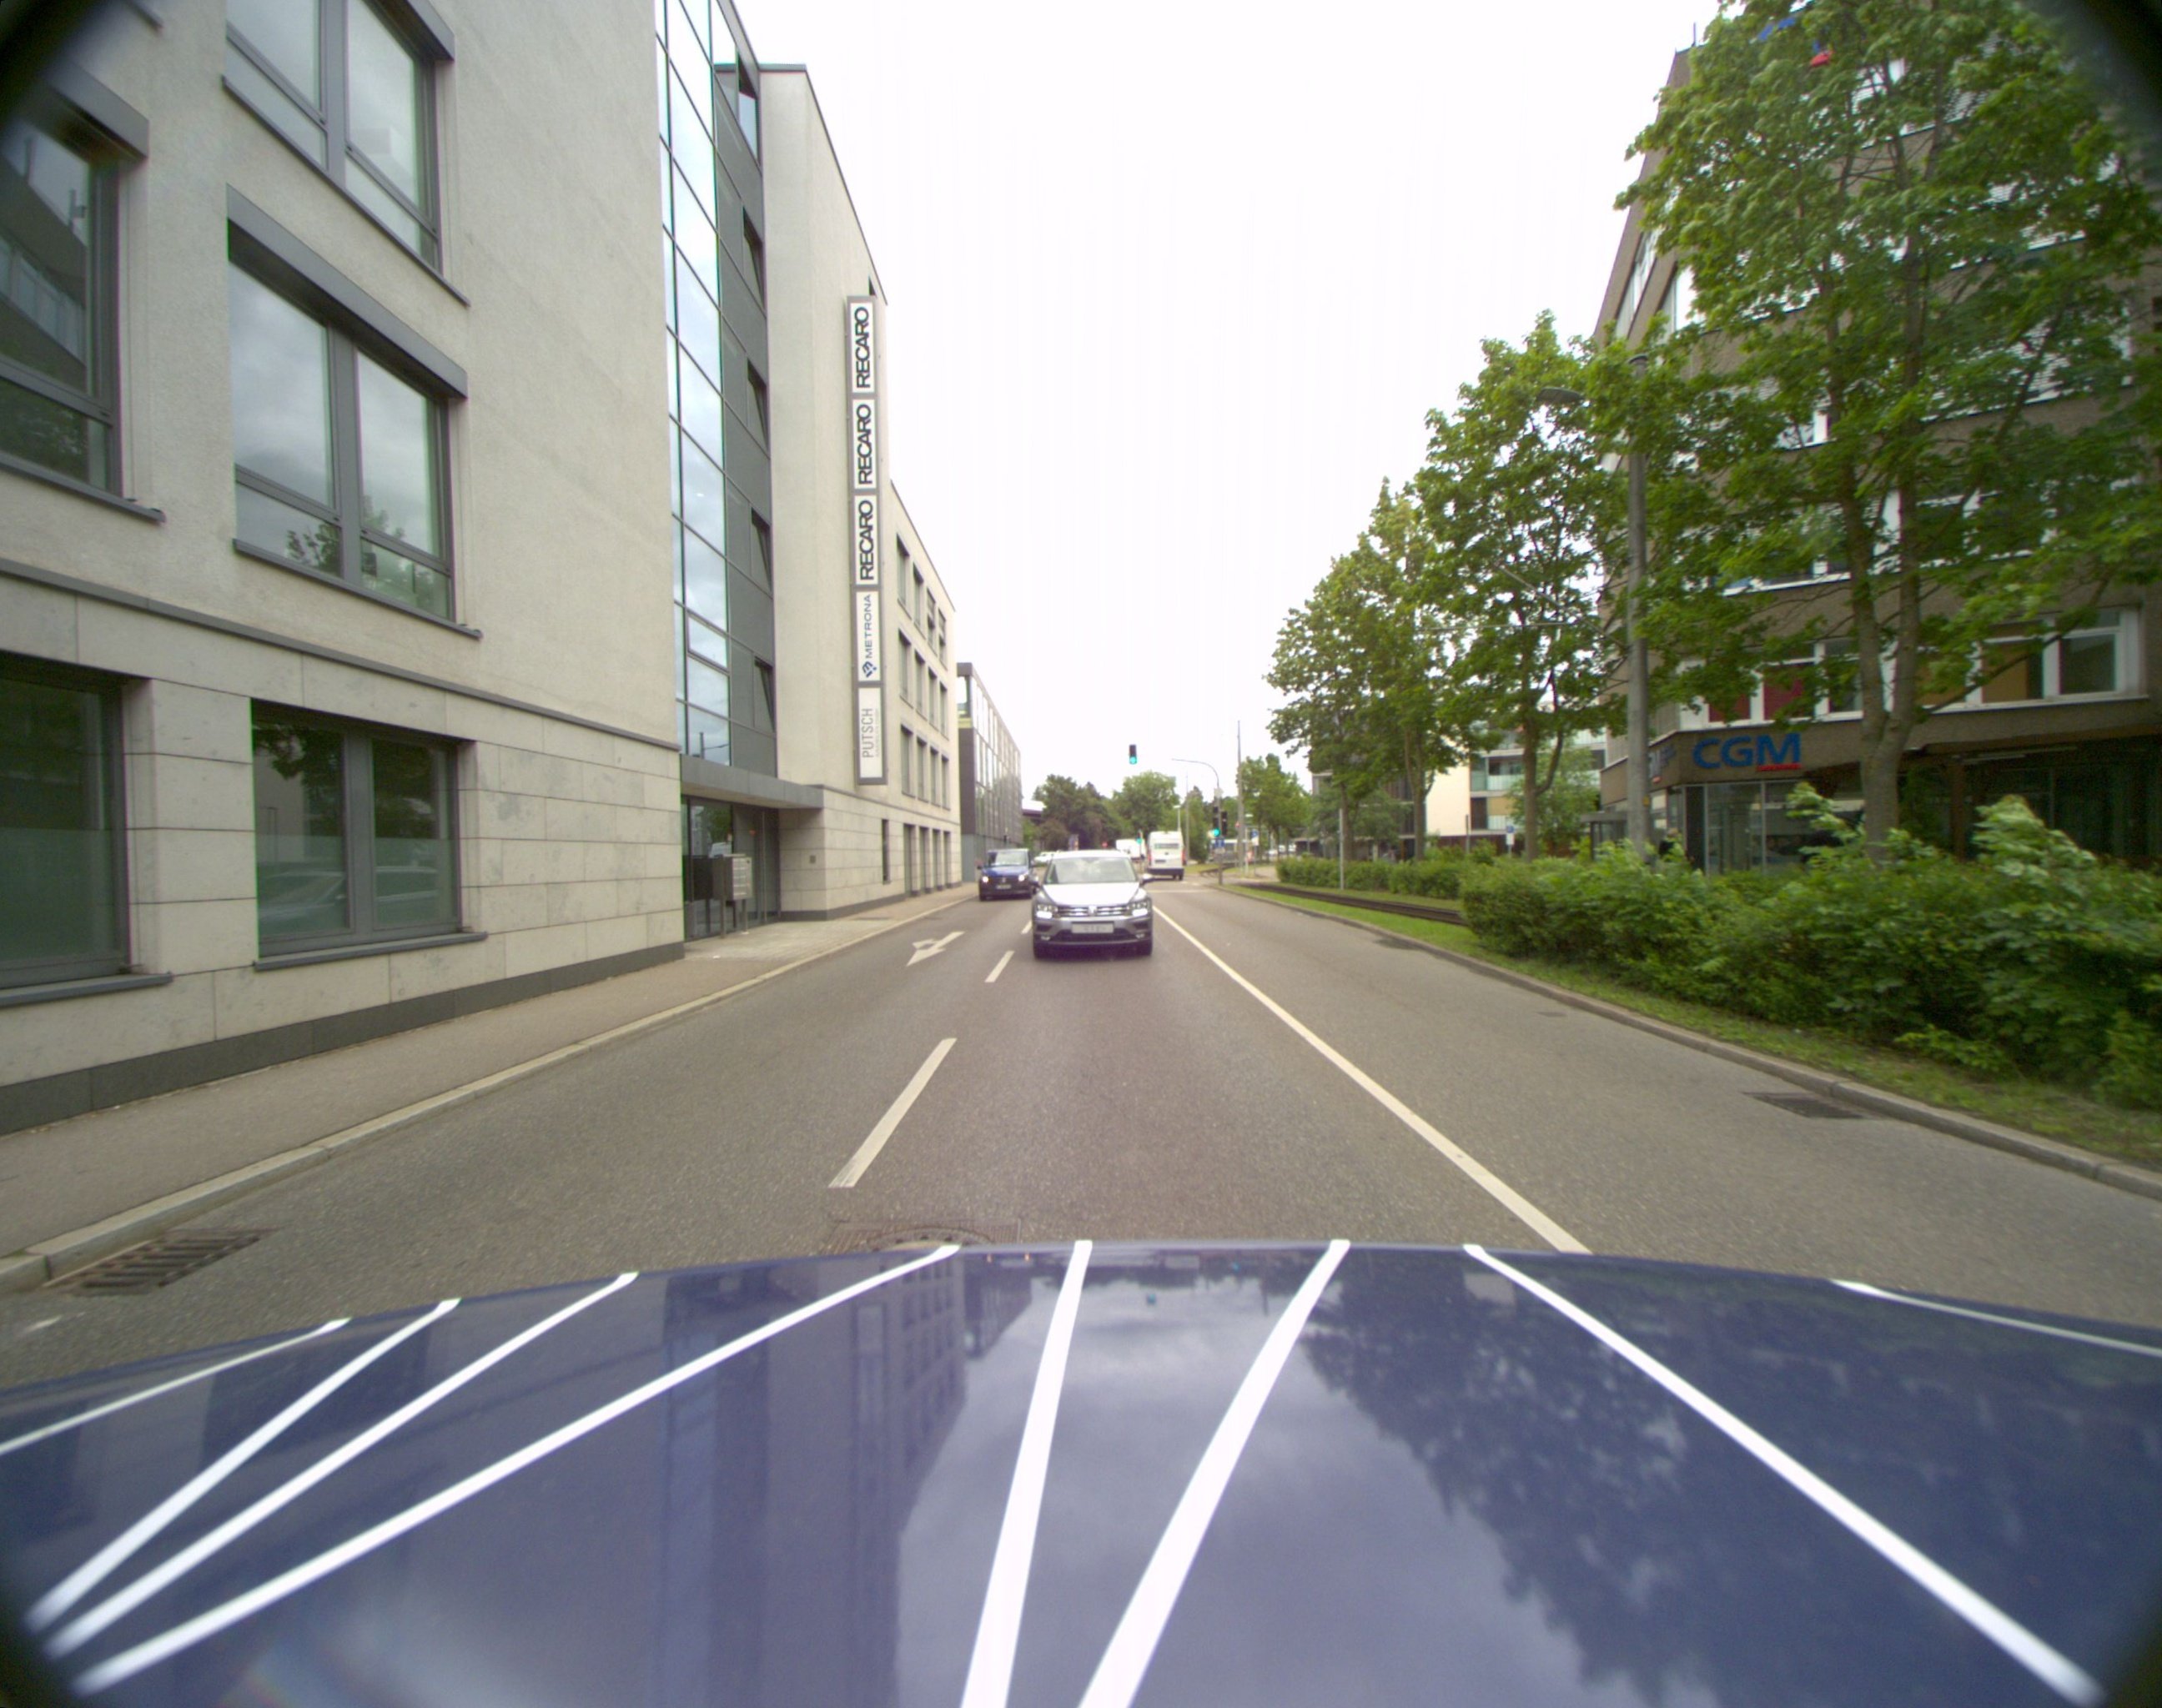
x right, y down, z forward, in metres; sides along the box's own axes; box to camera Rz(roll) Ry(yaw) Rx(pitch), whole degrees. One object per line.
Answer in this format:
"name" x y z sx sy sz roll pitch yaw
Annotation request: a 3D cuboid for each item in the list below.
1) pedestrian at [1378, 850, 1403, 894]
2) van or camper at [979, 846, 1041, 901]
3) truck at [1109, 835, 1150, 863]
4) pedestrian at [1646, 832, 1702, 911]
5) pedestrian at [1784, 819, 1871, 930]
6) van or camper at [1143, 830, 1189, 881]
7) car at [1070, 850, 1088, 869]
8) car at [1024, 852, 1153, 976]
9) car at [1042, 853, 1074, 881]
"pedestrian" 12.965 0.747 31.800 0.680 1.795 0.731 -2 1 -4
"van or camper" -2.633 0.680 29.349 1.864 1.900 5.031 -1 0 0
"truck" 7.042 -0.771 108.646 2.317 3.626 8.024 -1 1 30
"pedestrian" 14.538 0.420 18.637 0.776 1.883 0.731 -2 1 -1
"pedestrian" 13.332 0.353 13.591 0.816 1.913 0.731 -2 1 0
"van or camper" 4.997 0.038 45.330 2.112 2.718 6.151 -2 1 2
"car" -0.192 0.579 87.346 1.998 2.002 3.999 -2 1 1
"car" 0.121 0.847 13.046 1.798 1.716 4.458 -1 0 0
"car" -1.582 0.862 53.890 1.998 1.805 3.999 -2 1 1
